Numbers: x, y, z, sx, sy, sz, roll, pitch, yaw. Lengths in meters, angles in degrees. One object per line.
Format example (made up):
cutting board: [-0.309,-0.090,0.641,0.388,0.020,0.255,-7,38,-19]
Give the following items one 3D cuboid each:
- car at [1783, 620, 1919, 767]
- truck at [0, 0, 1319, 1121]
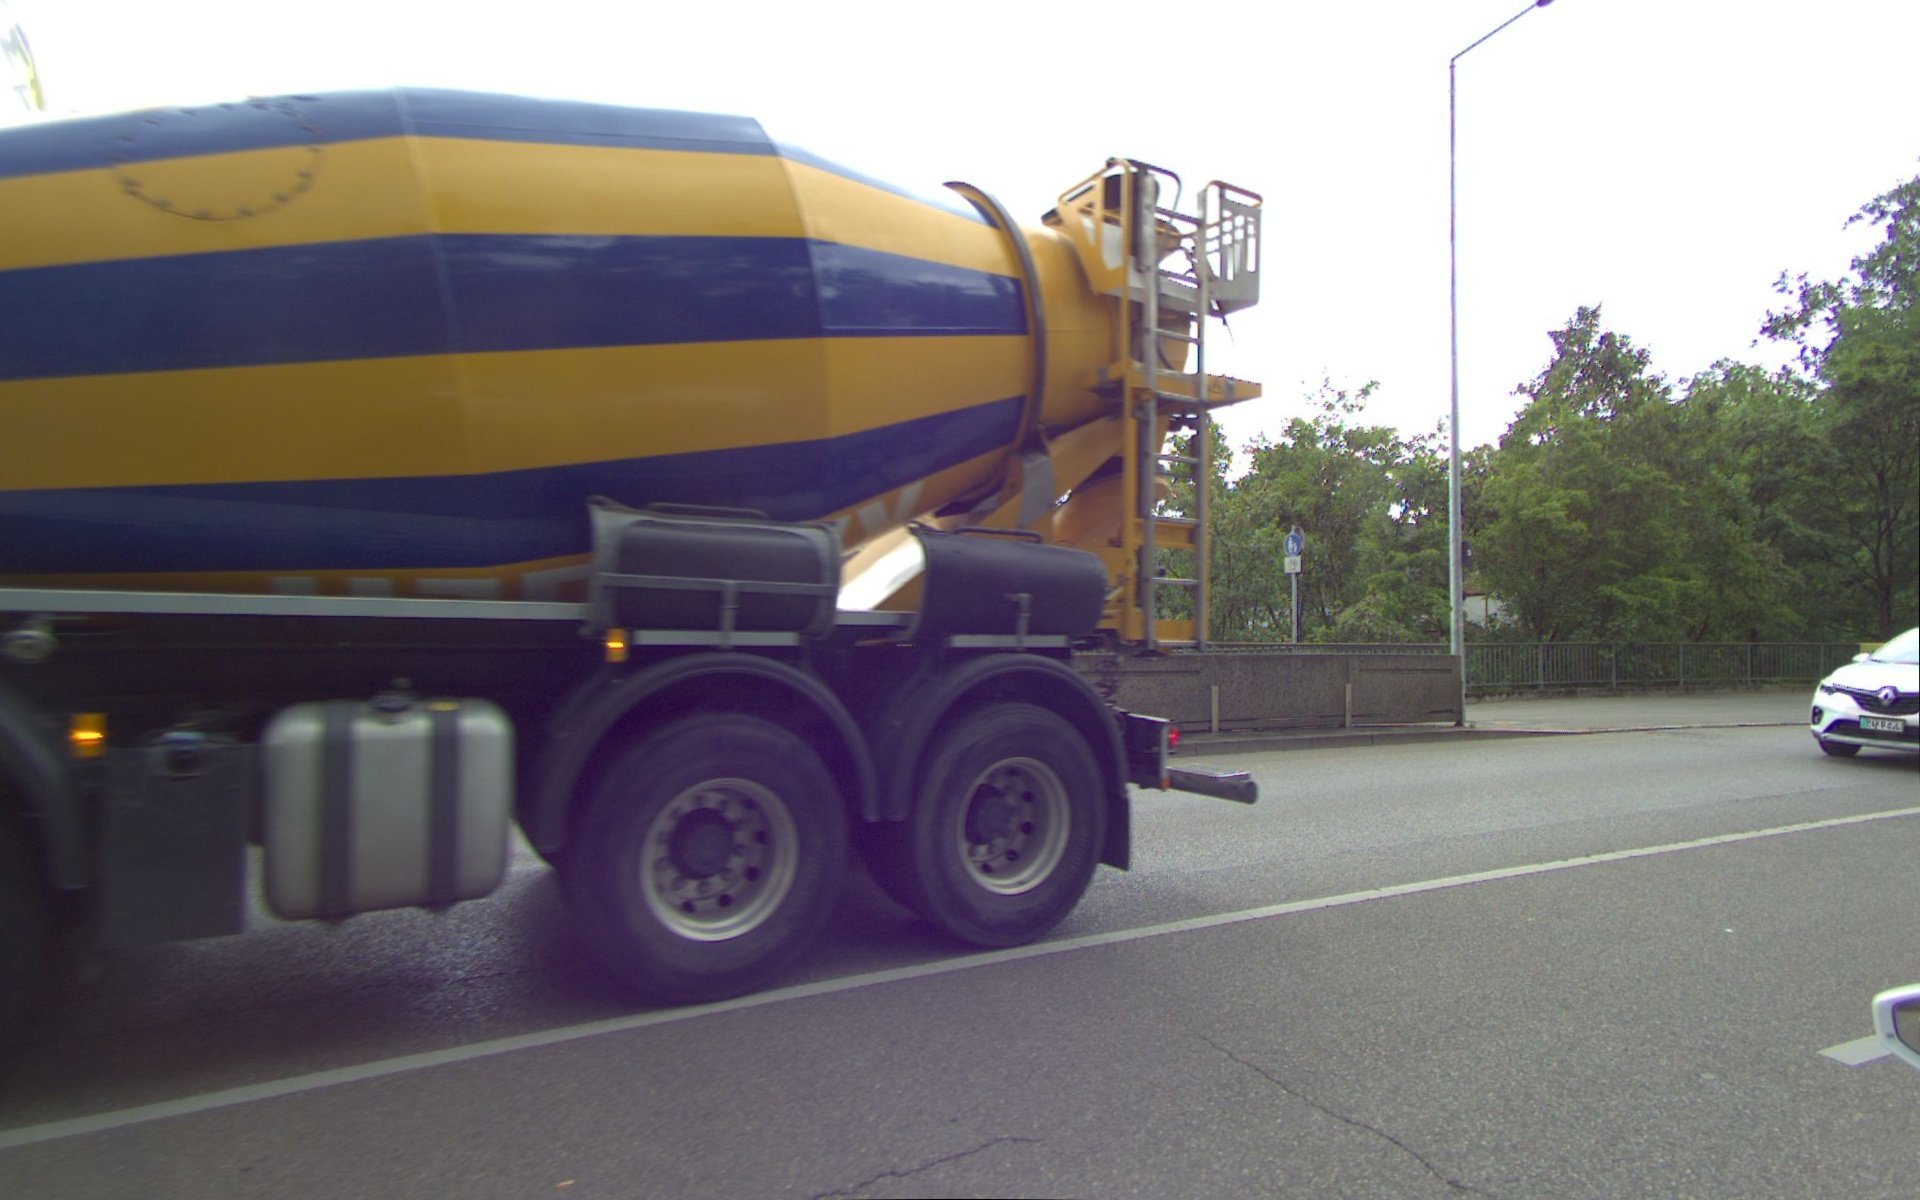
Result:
car: [11.512,1.003,11.408,3.944,1.499,1.763,1,-1,-24]
truck: [-3.093,-0.614,3.841,9.993,3.991,2.642,1,-1,-31]
